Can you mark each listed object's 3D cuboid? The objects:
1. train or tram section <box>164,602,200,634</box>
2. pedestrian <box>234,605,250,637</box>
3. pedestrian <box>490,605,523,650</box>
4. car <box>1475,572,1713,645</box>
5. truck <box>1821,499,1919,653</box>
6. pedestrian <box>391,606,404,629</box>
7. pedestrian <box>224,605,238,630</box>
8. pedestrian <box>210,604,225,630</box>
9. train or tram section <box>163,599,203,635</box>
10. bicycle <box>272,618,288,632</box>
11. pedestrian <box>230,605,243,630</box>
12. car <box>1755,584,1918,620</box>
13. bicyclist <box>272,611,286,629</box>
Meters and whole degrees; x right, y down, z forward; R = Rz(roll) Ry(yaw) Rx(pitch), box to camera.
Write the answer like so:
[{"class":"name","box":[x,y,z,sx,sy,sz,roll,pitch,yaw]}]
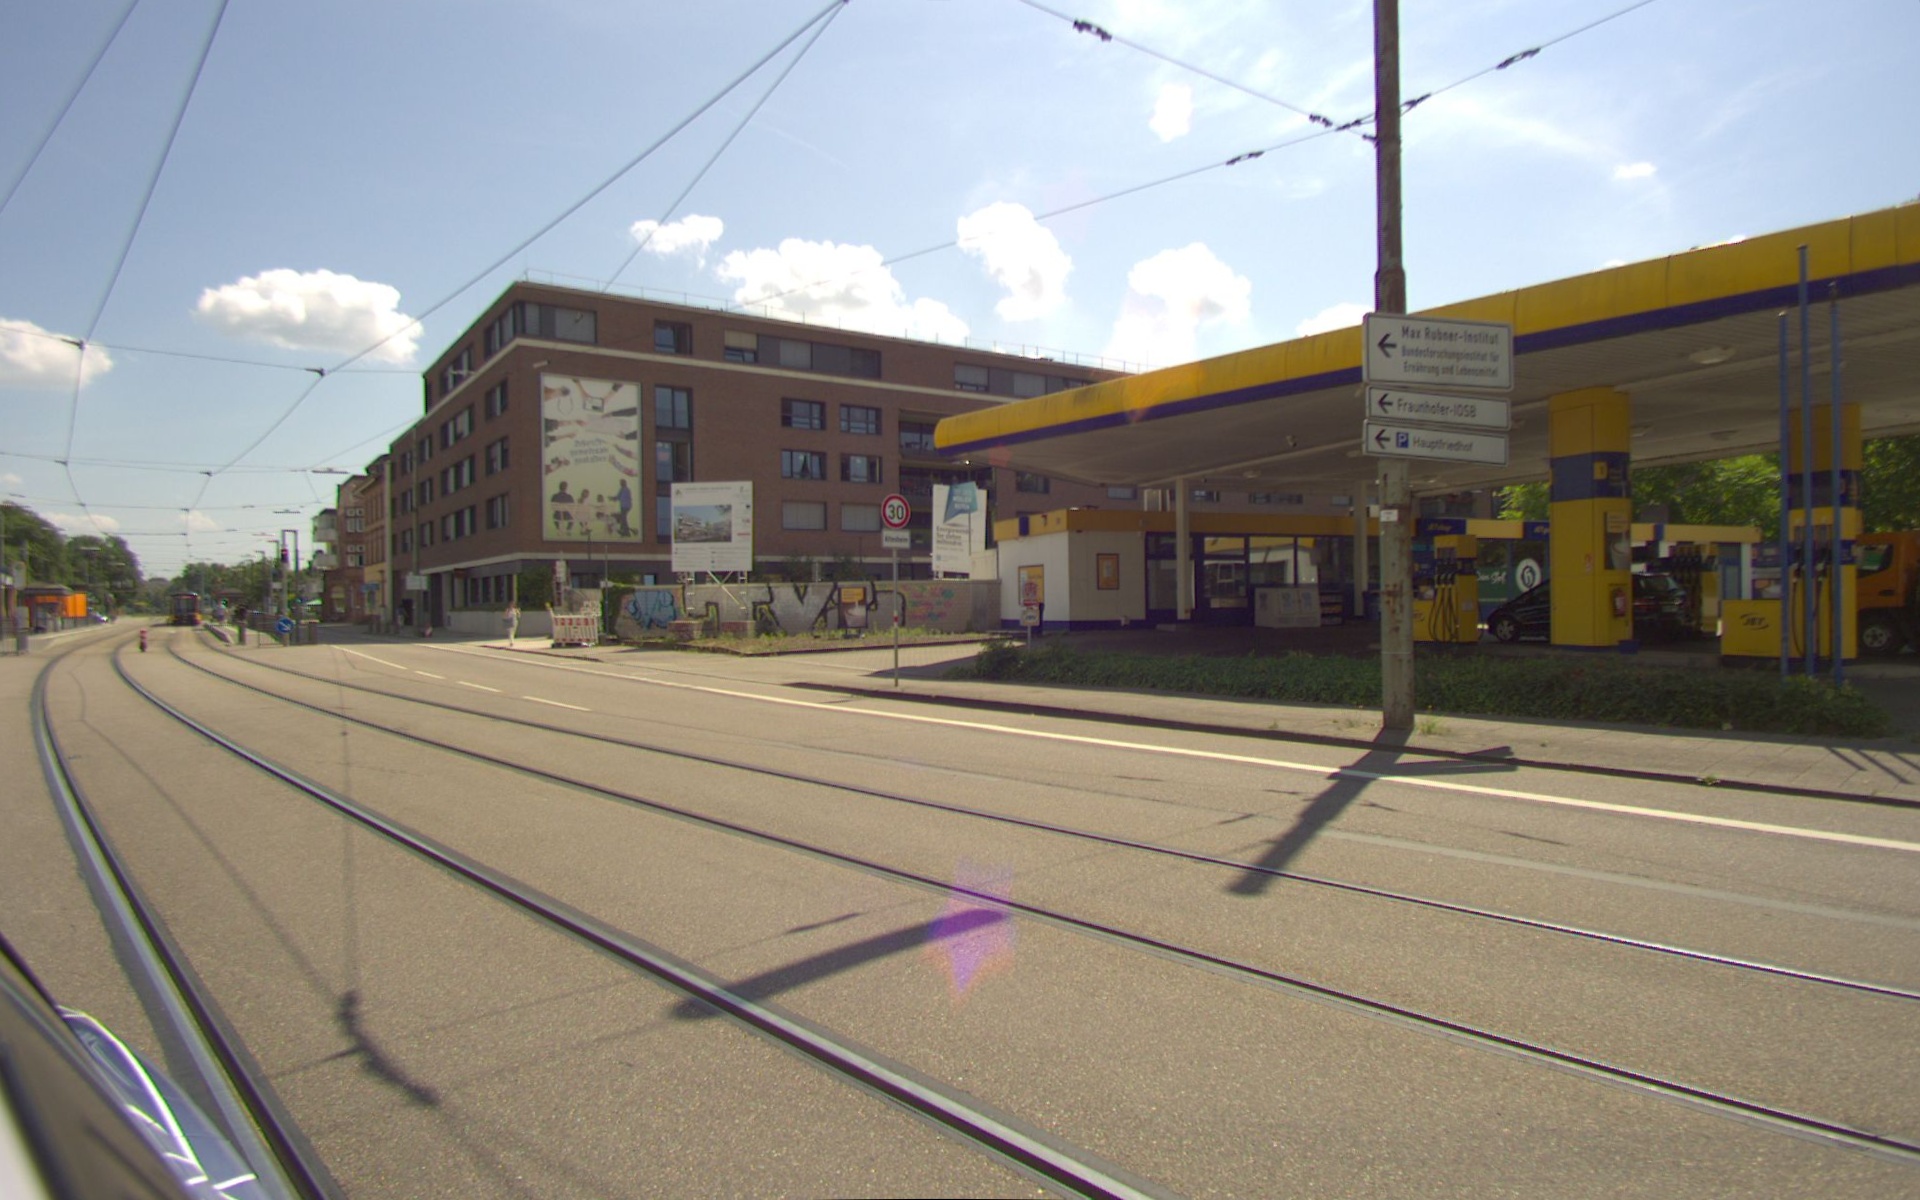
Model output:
[{"class":"train or tram section","box":[-94.488,2.169,122.928,3.208,3.594,20.543,0,0,-38]},{"class":"pedestrian","box":[-40.595,1.172,57.189,0.676,1.773,1.035,0,-1,-39]},{"class":"pedestrian","box":[-16.824,1.012,37.549,0.751,1.607,1.001,-5,3,-43]},{"class":"car","box":[14.235,0.187,23.066,1.966,1.490,4.355,-1,0,-17]},{"class":"truck","box":[16.885,-0.404,15.632,1.966,2.517,5.218,-1,0,-15]},{"class":"pedestrian","box":[-39.892,1.248,71.819,0.676,1.608,0.762,0,-1,-39]},{"class":"pedestrian","box":[-50.331,1.215,69.872,0.750,1.707,0.810,0,-1,-39]},{"class":"pedestrian","box":[-51.177,1.174,69.750,0.750,1.813,0.954,0,-1,-39]},{"class":"train or tram section","box":[-83.169,1.785,108.277,3.193,3.594,16.383,0,0,-38]},{"class":"bicycle","box":[-57.580,2.111,85.662,0.807,1.232,2.392,0,-1,-42]},{"class":"pedestrian","box":[-46.456,1.139,64.988,0.676,1.608,0.762,0,-1,-39]},{"class":"car","box":[31.193,0.083,36.157,1.728,1.219,4.013,-1,0,-25]},{"class":"bicyclist","box":[-57.606,1.685,85.601,0.749,1.515,1.066,-1,0,-44]}]
